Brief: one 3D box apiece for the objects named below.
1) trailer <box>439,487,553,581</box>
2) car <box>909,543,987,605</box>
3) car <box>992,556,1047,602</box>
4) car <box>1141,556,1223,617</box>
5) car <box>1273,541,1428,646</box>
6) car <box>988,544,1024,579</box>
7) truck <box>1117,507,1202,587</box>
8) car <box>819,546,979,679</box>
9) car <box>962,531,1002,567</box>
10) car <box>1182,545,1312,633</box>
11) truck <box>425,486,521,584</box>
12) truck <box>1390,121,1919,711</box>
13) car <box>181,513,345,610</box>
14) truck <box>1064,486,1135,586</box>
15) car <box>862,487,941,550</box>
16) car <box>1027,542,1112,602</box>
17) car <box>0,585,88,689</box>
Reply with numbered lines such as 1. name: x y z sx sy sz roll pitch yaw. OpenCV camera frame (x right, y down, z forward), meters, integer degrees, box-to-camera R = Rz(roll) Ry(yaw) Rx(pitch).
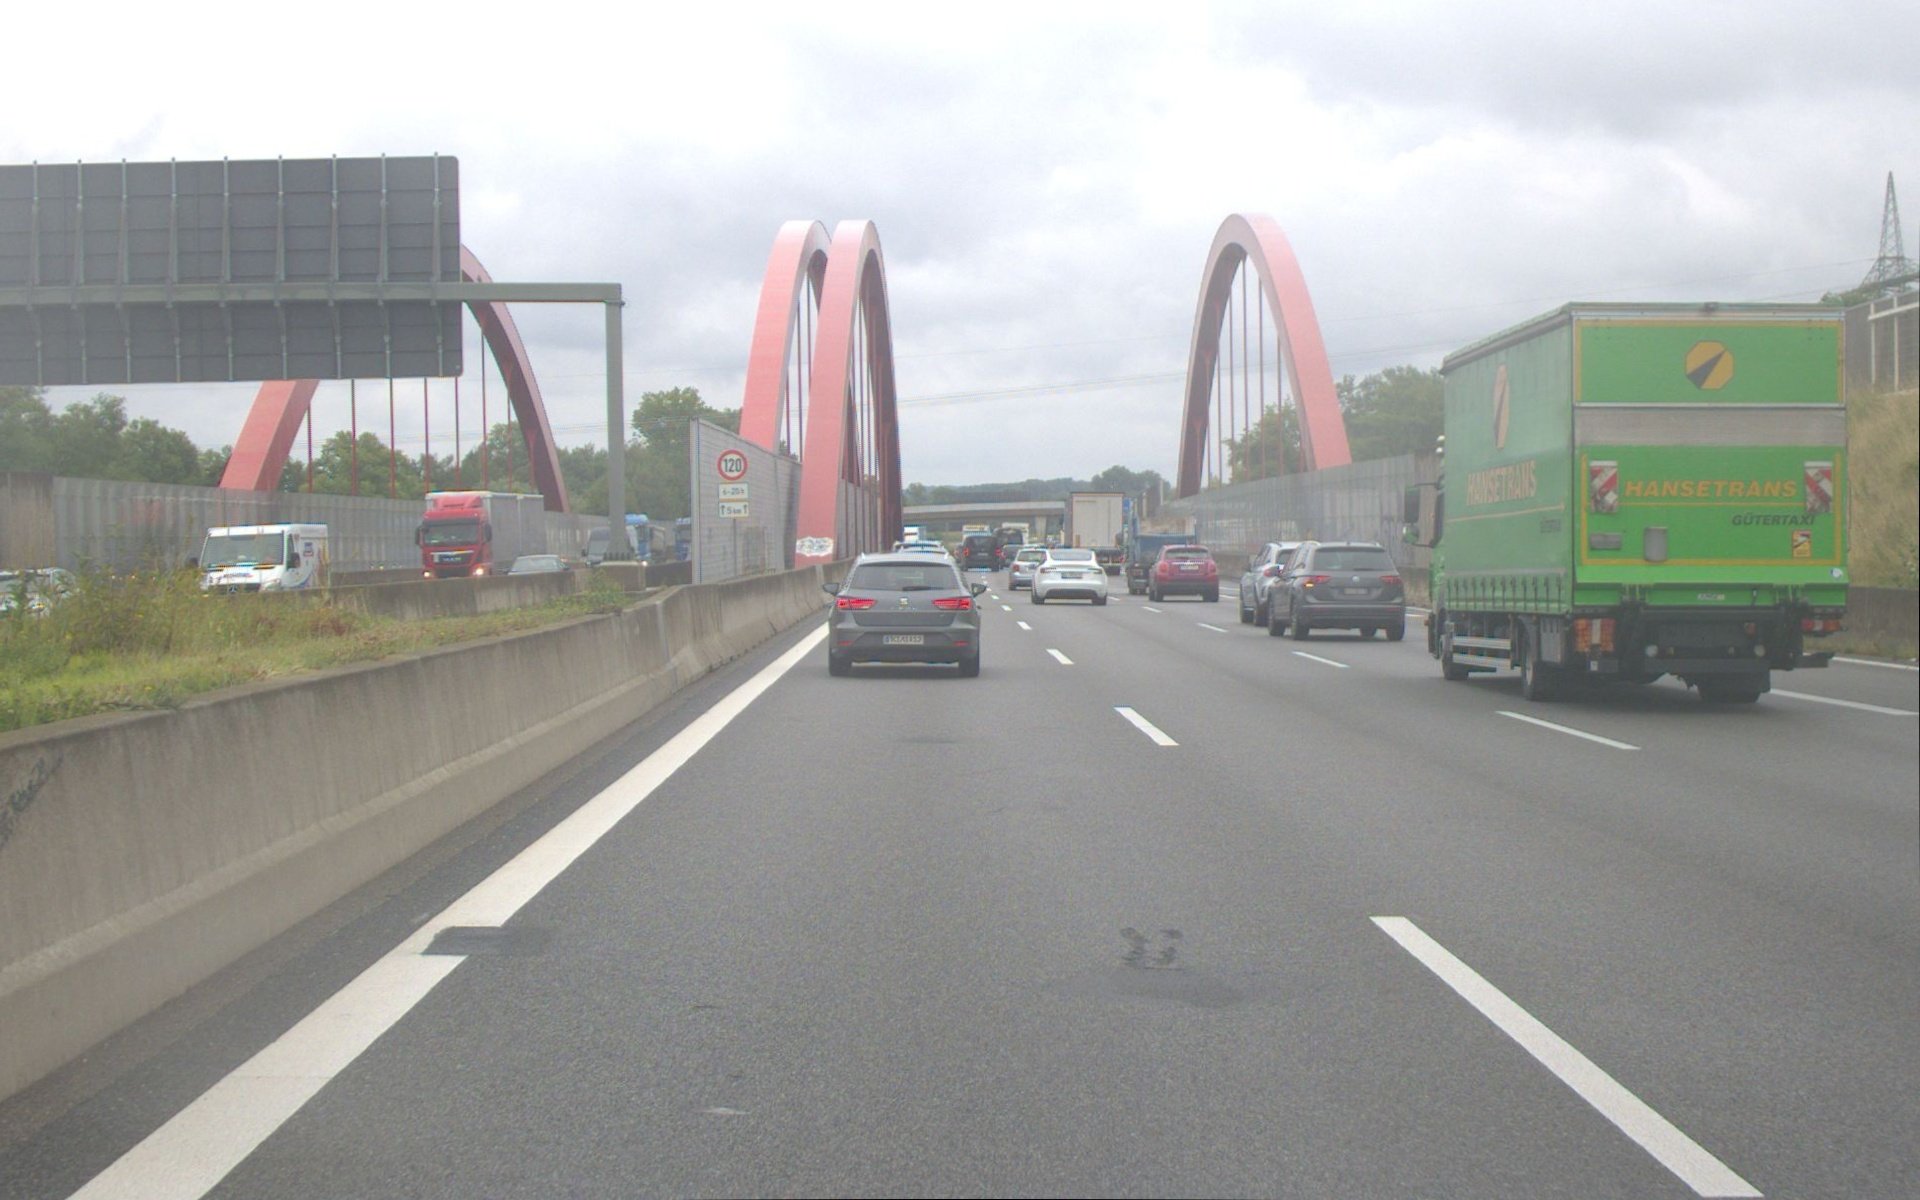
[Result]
1. trailer: -19.335 -2.761 144.135 2.984 3.716 14.309 0 1 -1
2. car: -0.294 -0.628 80.624 1.781 1.401 3.626 0 1 -1
3. car: 2.015 -0.730 117.253 1.702 1.538 3.839 0 1 -1
4. car: 6.242 -0.389 96.908 1.957 1.641 4.000 1 1 -1
5. car: 6.419 -0.131 56.930 1.911 1.664 4.105 0 1 -2
6. car: 2.686 -2.241 199.878 1.993 2.007 4.000 1 1 0
7. truck: 6.444 -1.724 111.574 2.361 2.498 6.144 1 1 0
8. car: -0.674 0.108 40.159 1.764 1.448 4.000 1 1 0
9. car: 1.117 -2.655 177.391 1.993 1.809 4.000 1 1 0
10. car: 5.587 -0.242 67.494 1.993 1.613 5.328 1 1 -1
11. truck: -19.246 -2.570 136.133 2.984 3.740 5.917 0 1 -1
12. truck: 7.349 -1.733 36.603 3.997 5.248 11.220 1 1 0
13. car: -15.305 -0.876 75.903 2.214 2.007 7.059 1 1 0
14. truck: 6.763 -3.133 168.181 3.044 4.718 7.680 1 1 0
15. car: -1.552 -2.143 90.484 1.993 1.579 4.000 -1 1 -1
16. car: 2.790 -0.738 88.509 1.993 1.481 4.000 0 1 -1
17. car: -19.106 0.722 69.542 1.993 1.974 4.000 1 1 -1
